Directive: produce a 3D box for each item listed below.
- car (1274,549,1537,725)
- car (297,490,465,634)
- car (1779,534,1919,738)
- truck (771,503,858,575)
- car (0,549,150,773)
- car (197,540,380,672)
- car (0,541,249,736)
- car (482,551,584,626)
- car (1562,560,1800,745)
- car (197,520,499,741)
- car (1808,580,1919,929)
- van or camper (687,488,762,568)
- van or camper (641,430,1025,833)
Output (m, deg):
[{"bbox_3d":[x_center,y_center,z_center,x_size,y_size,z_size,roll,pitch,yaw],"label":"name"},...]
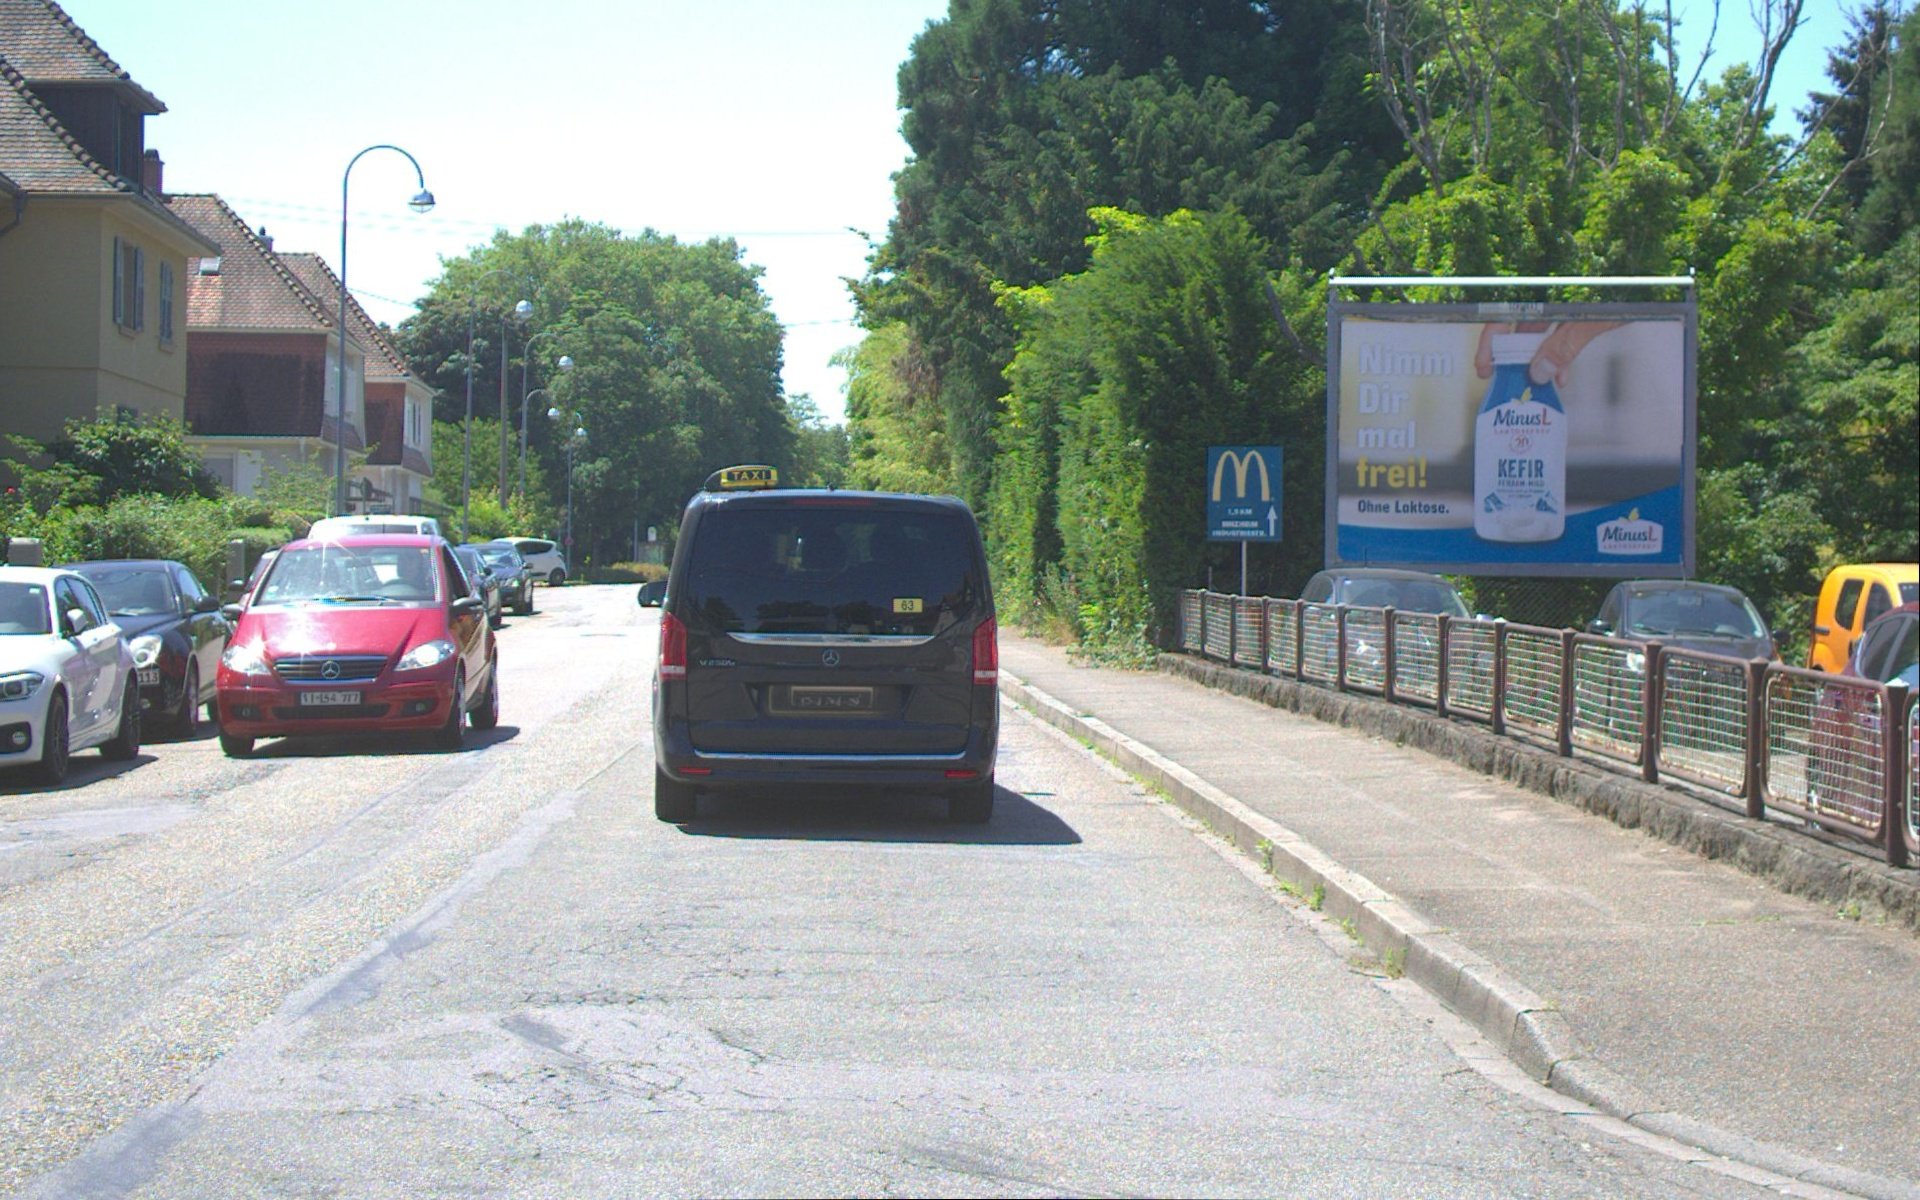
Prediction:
[{"bbox_3d":[4.148,0.307,32.507,1.631,1.454,3.557,4,0,-5],"label":"car"},{"bbox_3d":[-8.403,-0.574,50.226,1.878,1.956,4.626,-2,1,-3],"label":"car"},{"bbox_3d":[9.225,0.356,32.150,1.774,1.793,4.166,4,0,-4],"label":"car"},{"bbox_3d":[-4.788,-1.974,112.047,2.355,2.251,6.093,1,1,-7],"label":"truck"},{"bbox_3d":[-6.796,0.369,23.479,1.794,1.397,4.219,-1,1,-4],"label":"car"},{"bbox_3d":[-8.234,0.038,42.456,1.686,1.520,4.063,1,1,-4],"label":"car"},{"bbox_3d":[-7.087,0.281,28.739,1.715,1.480,4.077,-1,1,-5],"label":"car"},{"bbox_3d":[-8.493,-0.253,68.591,1.666,1.381,4.381,-1,1,-3],"label":"car"},{"bbox_3d":[6.773,0.463,32.592,1.631,1.538,3.392,4,0,4],"label":"car"},{"bbox_3d":[-4.608,0.190,26.352,1.814,1.560,3.697,-1,1,-3],"label":"car"},{"bbox_3d":[5.160,0.682,16.088,1.712,1.518,3.839,1,1,5],"label":"car"},{"bbox_3d":[-7.667,-2.306,111.483,2.262,2.519,4.760,-1,1,-6],"label":"van or camper"},{"bbox_3d":[-0.790,0.128,20.158,1.902,2.007,5.271,2,1,-3],"label":"van or camper"}]
